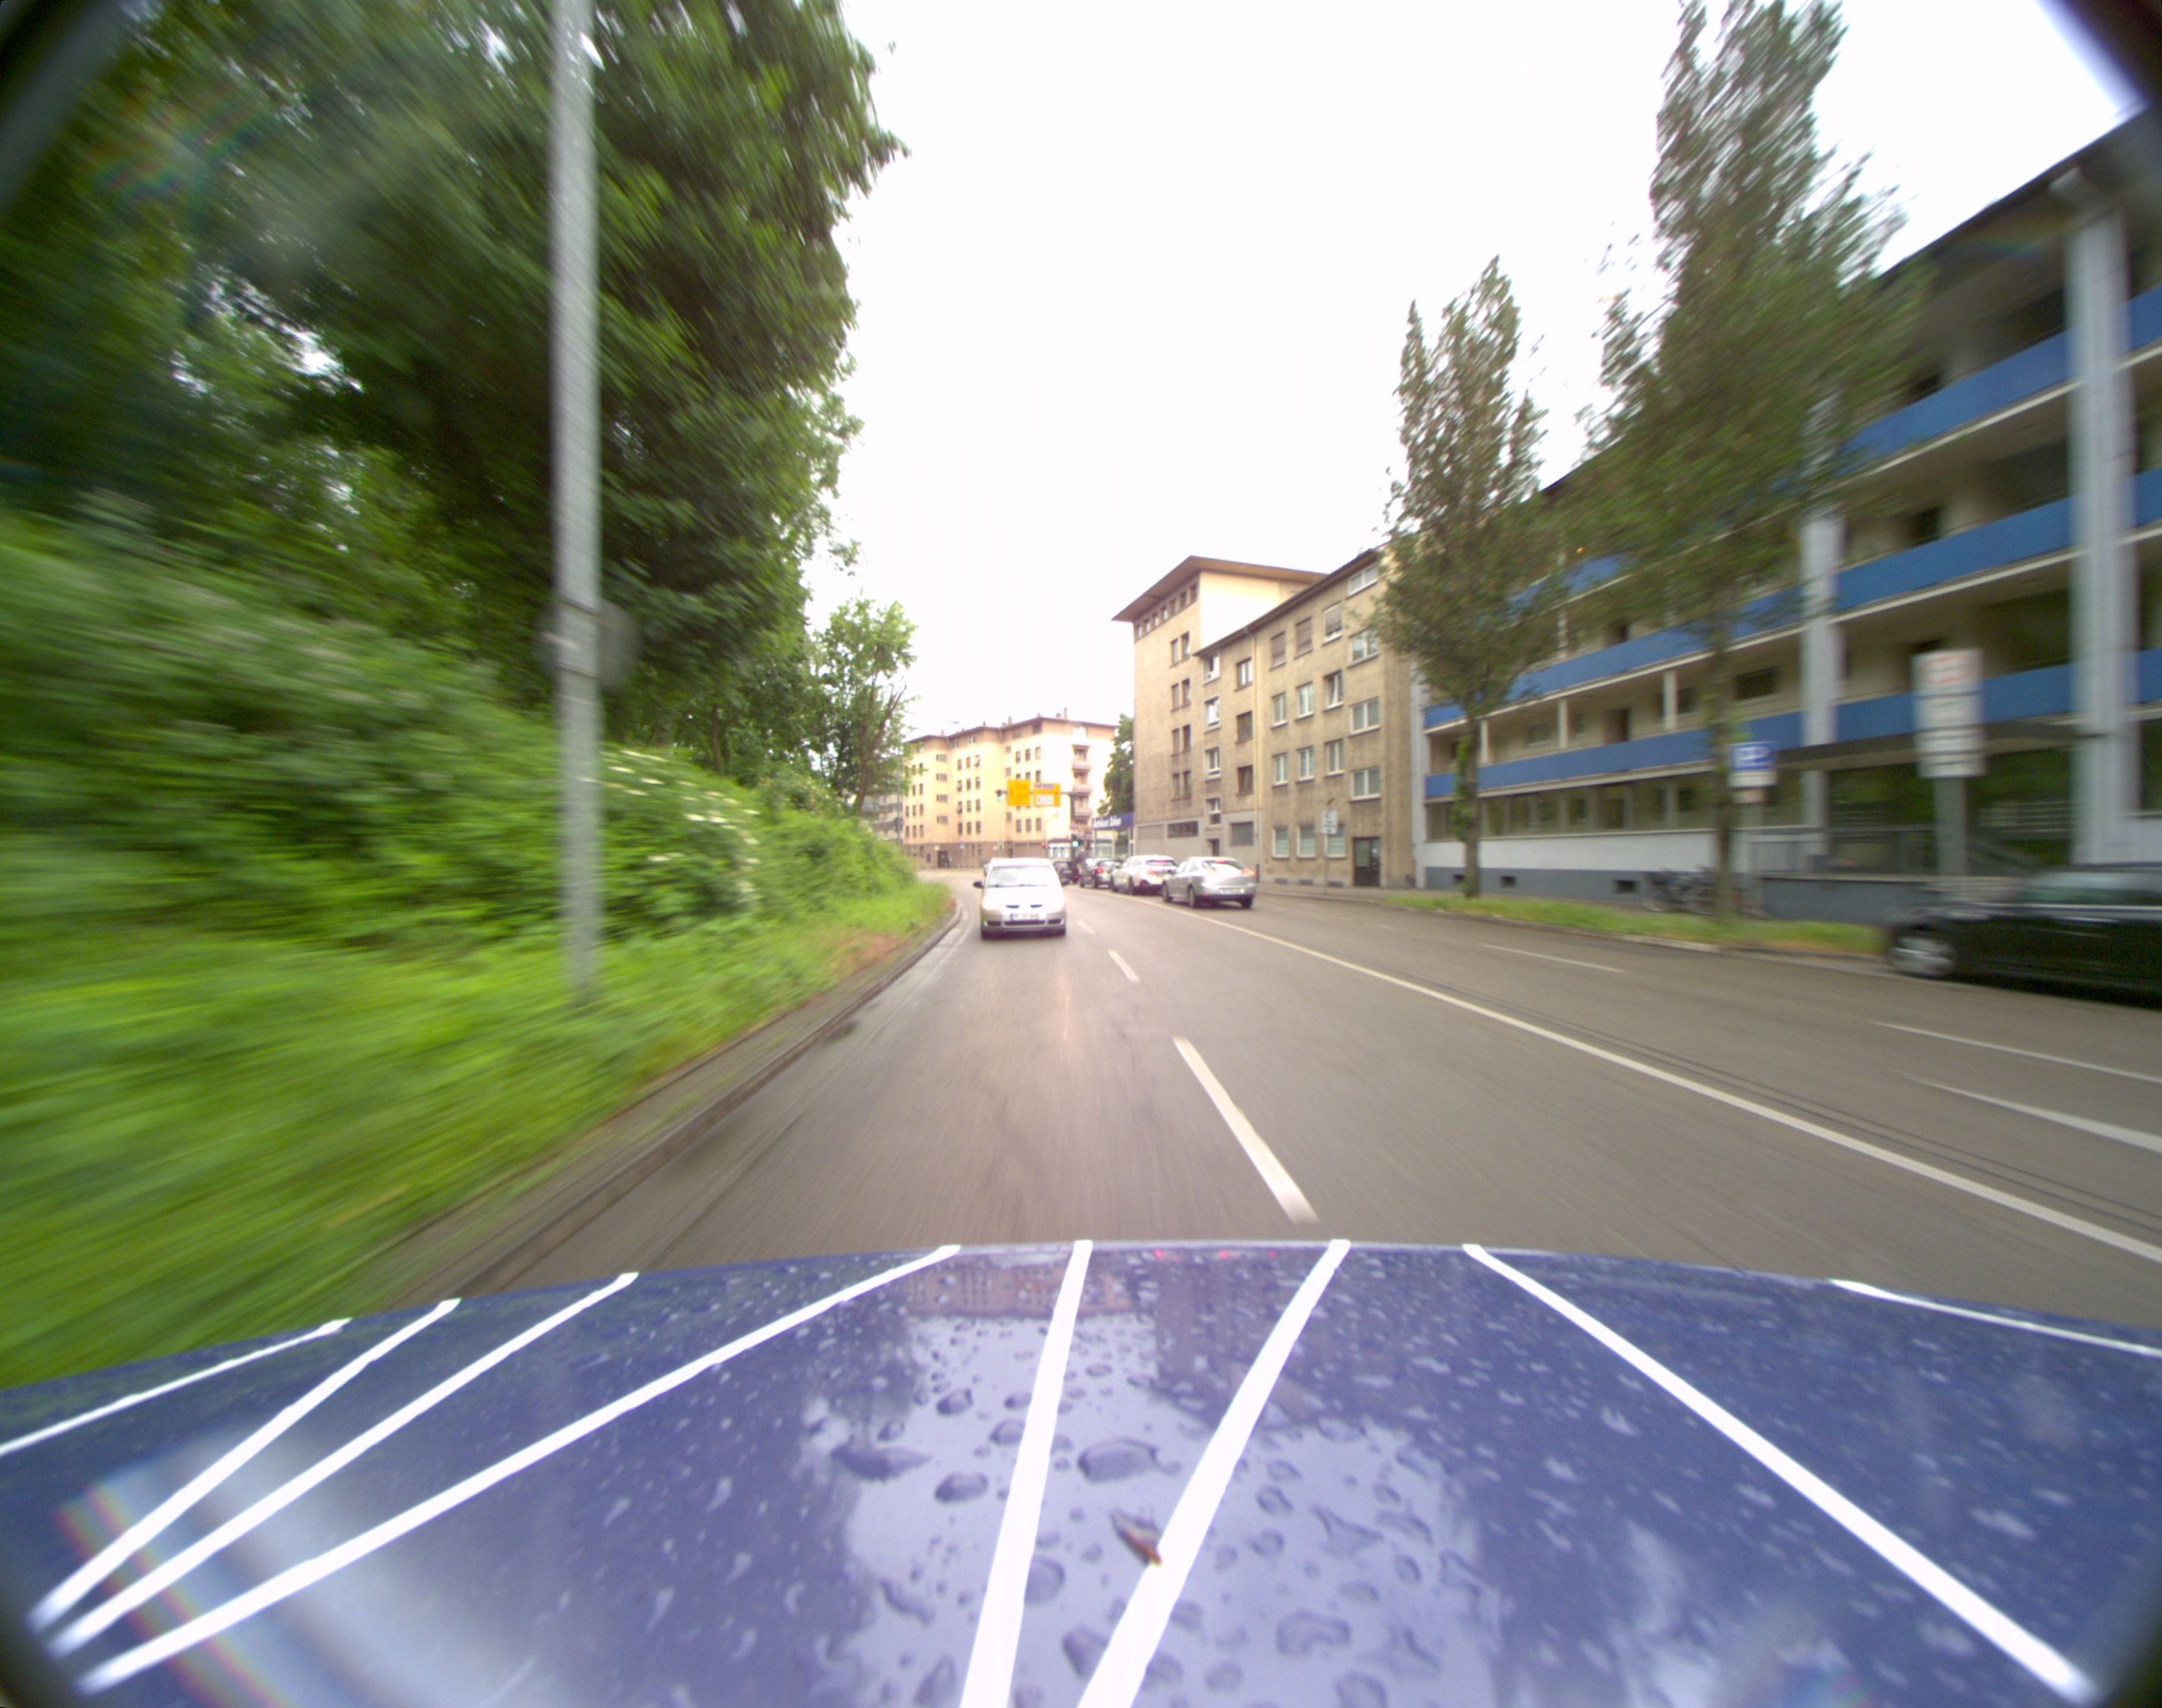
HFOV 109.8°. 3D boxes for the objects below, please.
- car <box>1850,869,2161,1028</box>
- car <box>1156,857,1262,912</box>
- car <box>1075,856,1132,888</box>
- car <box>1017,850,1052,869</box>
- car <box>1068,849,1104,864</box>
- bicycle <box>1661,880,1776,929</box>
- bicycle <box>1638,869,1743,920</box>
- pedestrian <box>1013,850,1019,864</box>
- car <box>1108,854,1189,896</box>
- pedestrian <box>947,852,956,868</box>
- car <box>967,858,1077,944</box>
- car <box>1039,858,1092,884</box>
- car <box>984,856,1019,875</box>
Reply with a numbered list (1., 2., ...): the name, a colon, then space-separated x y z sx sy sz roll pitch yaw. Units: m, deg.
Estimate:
1. car: 10.739 0.903 7.638 1.784 1.395 4.087 1 0 -2
2. car: 3.669 0.823 22.665 1.758 1.417 4.533 -1 0 -9
3. car: 1.005 0.817 36.055 1.686 1.439 3.815 0 0 -14
4. car: -3.617 0.435 58.763 1.665 1.447 3.993 1 0 -20
5. car: 0.574 0.238 89.700 1.763 1.638 4.269 -2 2 -44
6. bicycle: 12.861 0.999 15.390 0.669 0.821 1.739 -4 1 -9
7. bicycle: 13.304 0.851 16.648 0.614 1.017 1.731 0 0 -18
8. pedestrian: -7.653 0.308 89.504 0.582 1.629 0.617 -1 1 -13
9. car: 2.527 0.756 29.939 1.826 1.507 5.023 0 0 -11
10. pedestrian: -16.903 0.825 99.096 0.812 2.002 0.856 -2 0 -35
11. car: -1.374 0.881 16.095 1.754 1.510 3.996 -3 0 -12
12. car: -0.956 0.916 43.524 1.797 1.399 4.618 0 0 -17
13. car: -6.289 0.879 60.002 1.792 1.487 4.209 1 0 -19
